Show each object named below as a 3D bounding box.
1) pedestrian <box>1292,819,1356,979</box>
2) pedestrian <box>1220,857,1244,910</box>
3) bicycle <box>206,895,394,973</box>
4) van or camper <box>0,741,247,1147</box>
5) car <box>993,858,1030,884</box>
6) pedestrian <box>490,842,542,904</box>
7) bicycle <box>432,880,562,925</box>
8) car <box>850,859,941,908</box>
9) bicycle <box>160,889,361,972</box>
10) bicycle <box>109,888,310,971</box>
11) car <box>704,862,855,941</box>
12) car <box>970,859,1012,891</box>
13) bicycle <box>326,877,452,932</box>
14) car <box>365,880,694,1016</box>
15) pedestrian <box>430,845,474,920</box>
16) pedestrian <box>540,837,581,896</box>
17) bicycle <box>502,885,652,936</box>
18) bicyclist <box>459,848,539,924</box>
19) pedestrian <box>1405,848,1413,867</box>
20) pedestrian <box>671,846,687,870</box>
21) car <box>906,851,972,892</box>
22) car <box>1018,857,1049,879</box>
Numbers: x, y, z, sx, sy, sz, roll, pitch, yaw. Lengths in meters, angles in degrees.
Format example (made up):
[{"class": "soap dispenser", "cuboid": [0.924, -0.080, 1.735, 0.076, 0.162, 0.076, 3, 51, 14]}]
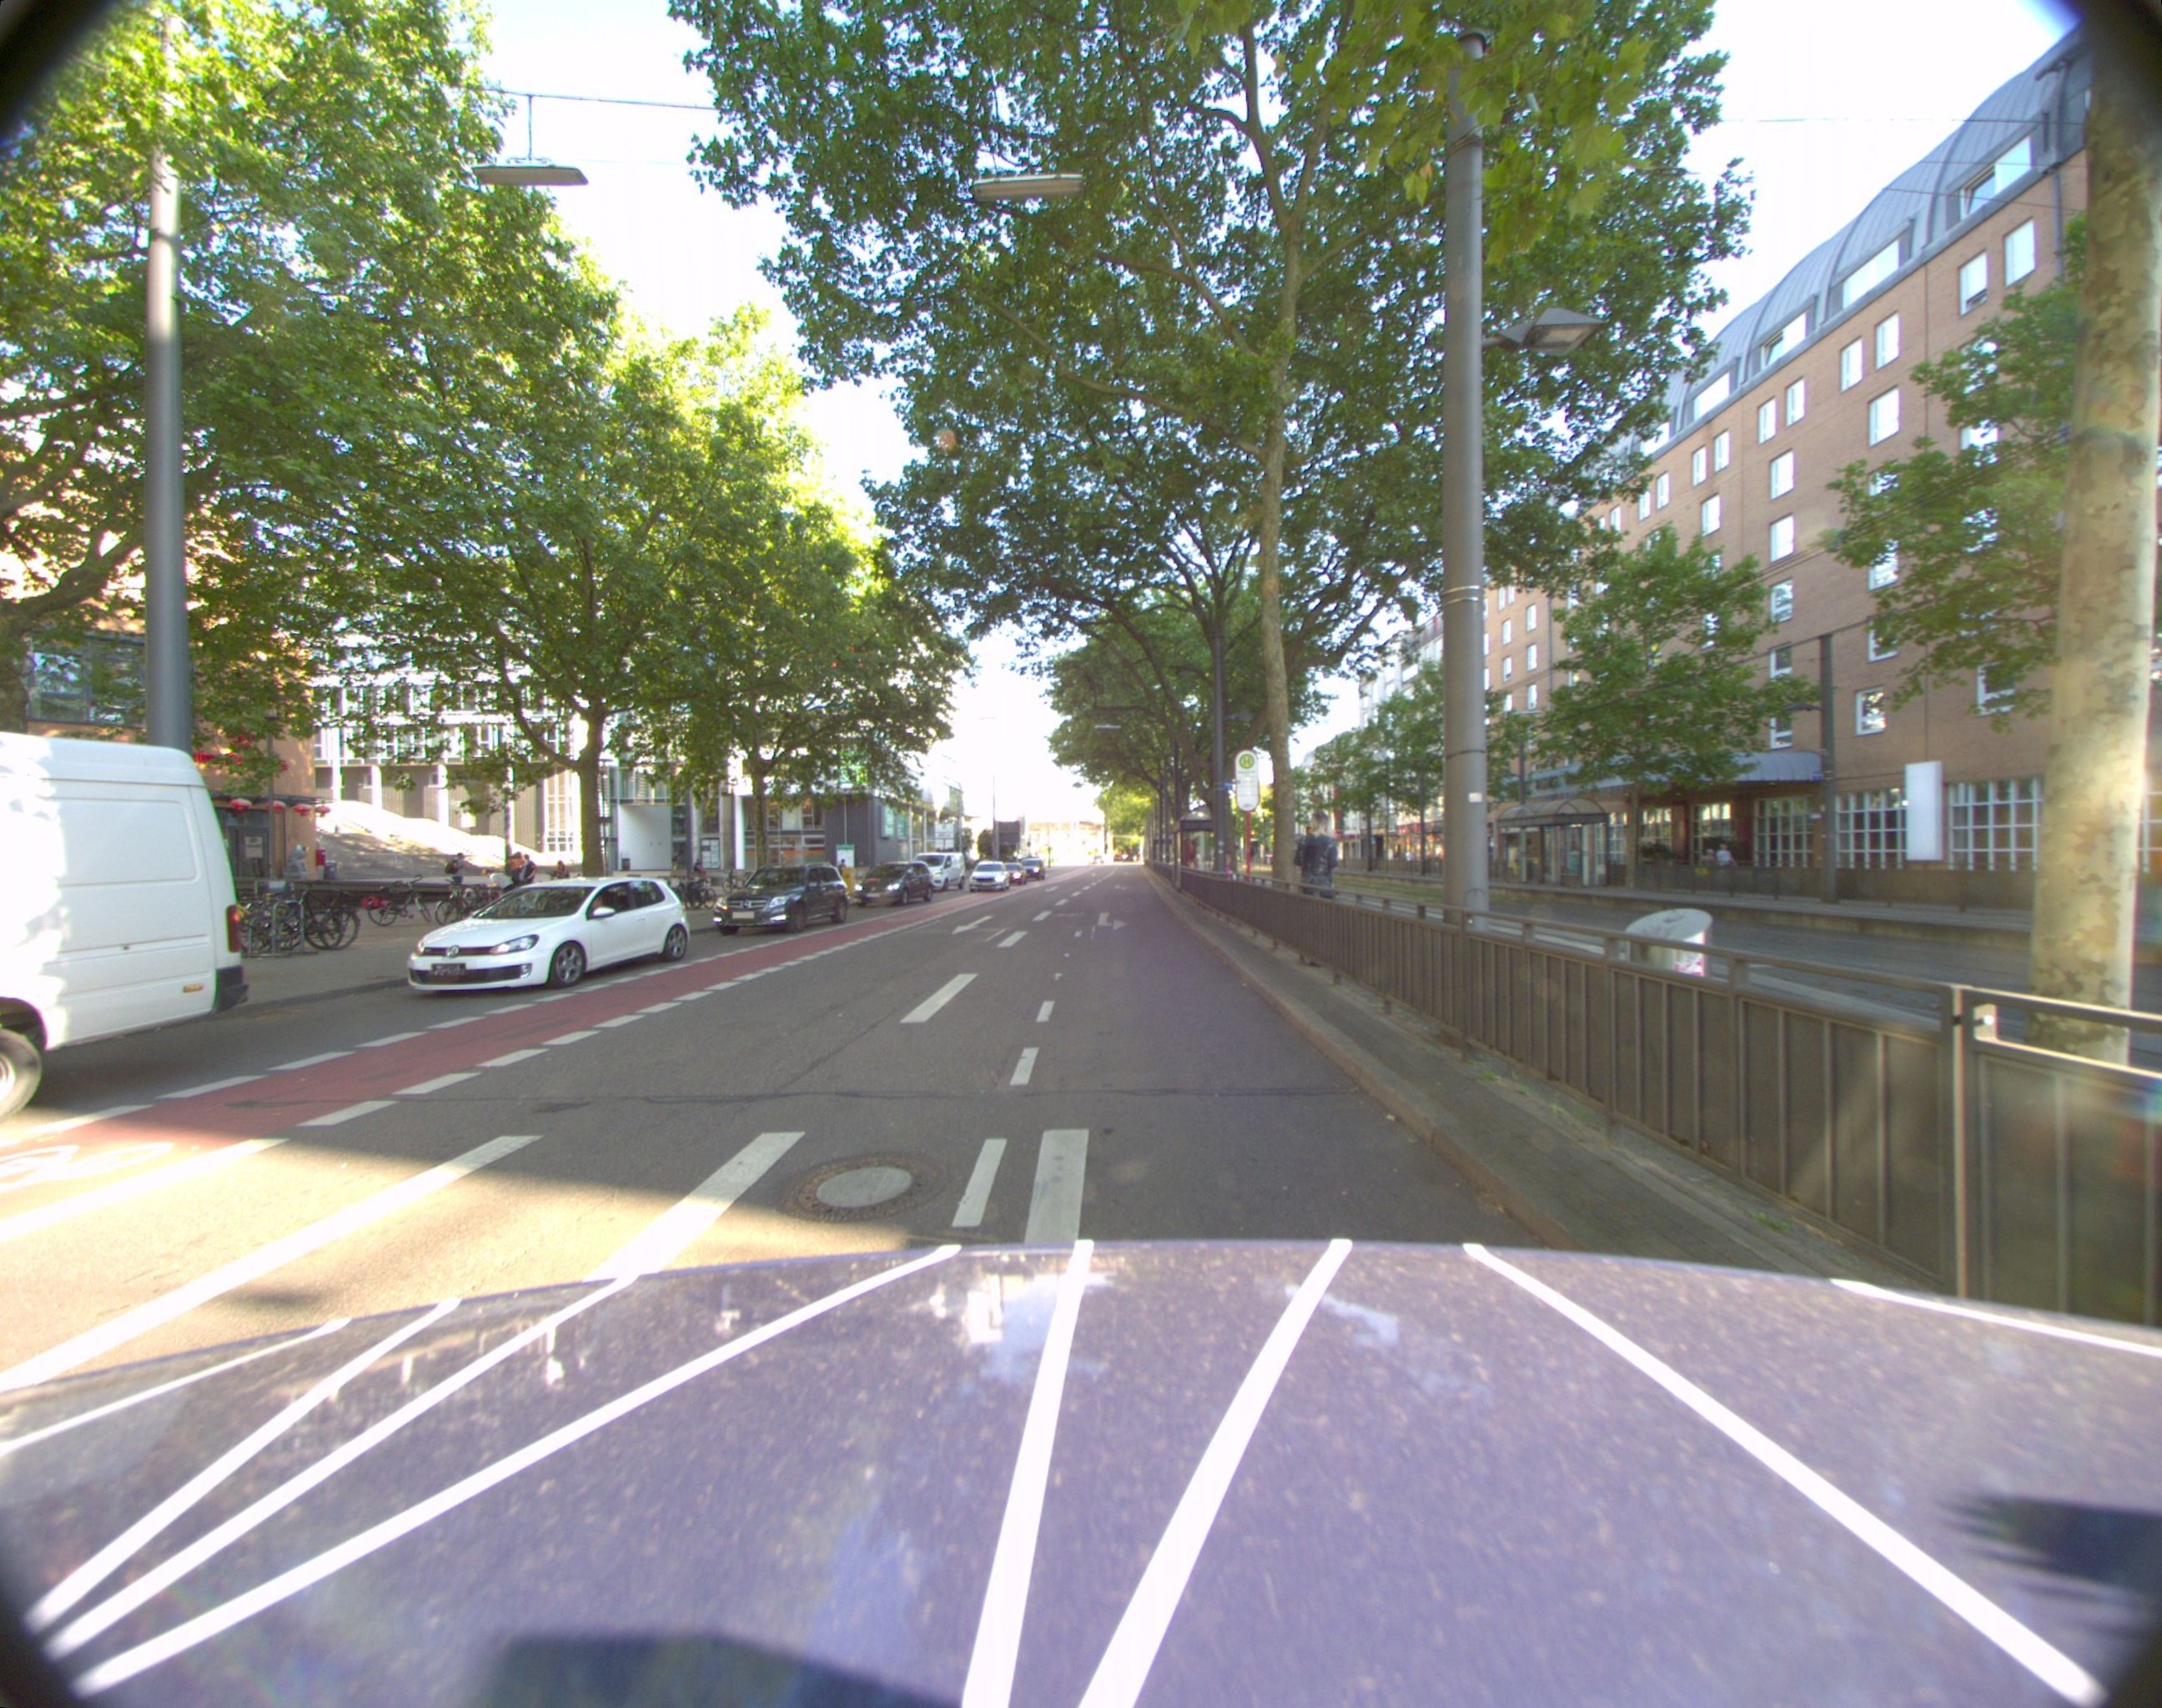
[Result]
[{"class": "pedestrian", "cuboid": [2.882, 0.521, 9.041, 0.543, 1.823, 0.524, -2, 1, 3]}, {"class": "pedestrian", "cuboid": [3.894, 0.749, 19.605, 0.542, 1.310, 0.524, -2, 1, 12]}, {"class": "bicycle", "cuboid": [-13.112, 1.298, 12.903, 0.682, 1.054, 2.337, -1, 1, 2]}, {"class": "van or camper", "cuboid": [-7.976, 0.592, 3.018, 2.004, 2.599, 6.498, -1, 0, 1]}, {"class": "car", "cuboid": [-4.390, 1.058, 48.409, 1.835, 1.481, 4.195, -3, 0, 1]}, {"class": "pedestrian", "cuboid": [-21.036, 0.701, 28.288, 1.048, 2.235, 1.221, -1, 1, 38]}, {"class": "bicycle", "cuboid": [-16.212, 1.313, 21.096, 3.328, 1.077, 1.150, 0, 1, 18]}, {"class": "car", "cuboid": [-6.908, 1.062, 28.795, 1.709, 1.626, 4.393, -2, 0, 9]}, {"class": "bicycle", "cuboid": [-14.043, 1.260, 13.151, 0.751, 1.155, 2.398, -2, 1, 2]}, {"class": "bicycle", "cuboid": [-14.825, 1.236, 13.054, 0.671, 1.155, 2.305, -2, 1, 3]}, {"class": "car", "cuboid": [-7.225, 1.071, 18.736, 1.768, 1.626, 4.251, -2, 0, 3]}, {"class": "car", "cuboid": [-4.557, 1.027, 38.983, 1.836, 1.481, 4.193, -2, 0, -4]}, {"class": "bicycle", "cuboid": [-17.845, 1.272, 19.716, 0.699, 1.193, 2.700, -2, 1, 1]}, {"class": "car", "cuboid": [-7.530, 1.178, 10.961, 1.639, 1.420, 3.987, -2, 0, 3]}, {"class": "pedestrian", "cuboid": [-22.741, 1.011, 27.490, 0.981, 2.633, 0.900, -3, 1, -31]}, {"class": "pedestrian", "cuboid": [-20.196, 0.476, 29.490, 0.842, 2.220, 0.905, -2, 1, 22]}, {"class": "bicycle", "cuboid": [-12.974, 1.423, 19.766, 0.975, 1.020, 3.208, -2, 1, 23]}, {"class": "bicyclist", "cuboid": [-16.107, 0.863, 21.056, 1.296, 2.002, 1.158, -1, 1, 17]}, {"class": "pedestrian", "cuboid": [30.400, 0.310, 70.444, 0.504, 1.725, 0.574, -1, 1, 3]}, {"class": "pedestrian", "cuboid": [-34.133, 0.329, 64.465, 0.797, 2.002, 0.875, -2, 1, 1]}, {"class": "car", "cuboid": [-7.430, 0.844, 40.405, 1.932, 1.953, 5.920, -2, 0, 4]}, {"class": "car", "cuboid": [-3.588, 1.037, 58.328, 1.784, 1.481, 4.196, -3, 0, 4]}]
